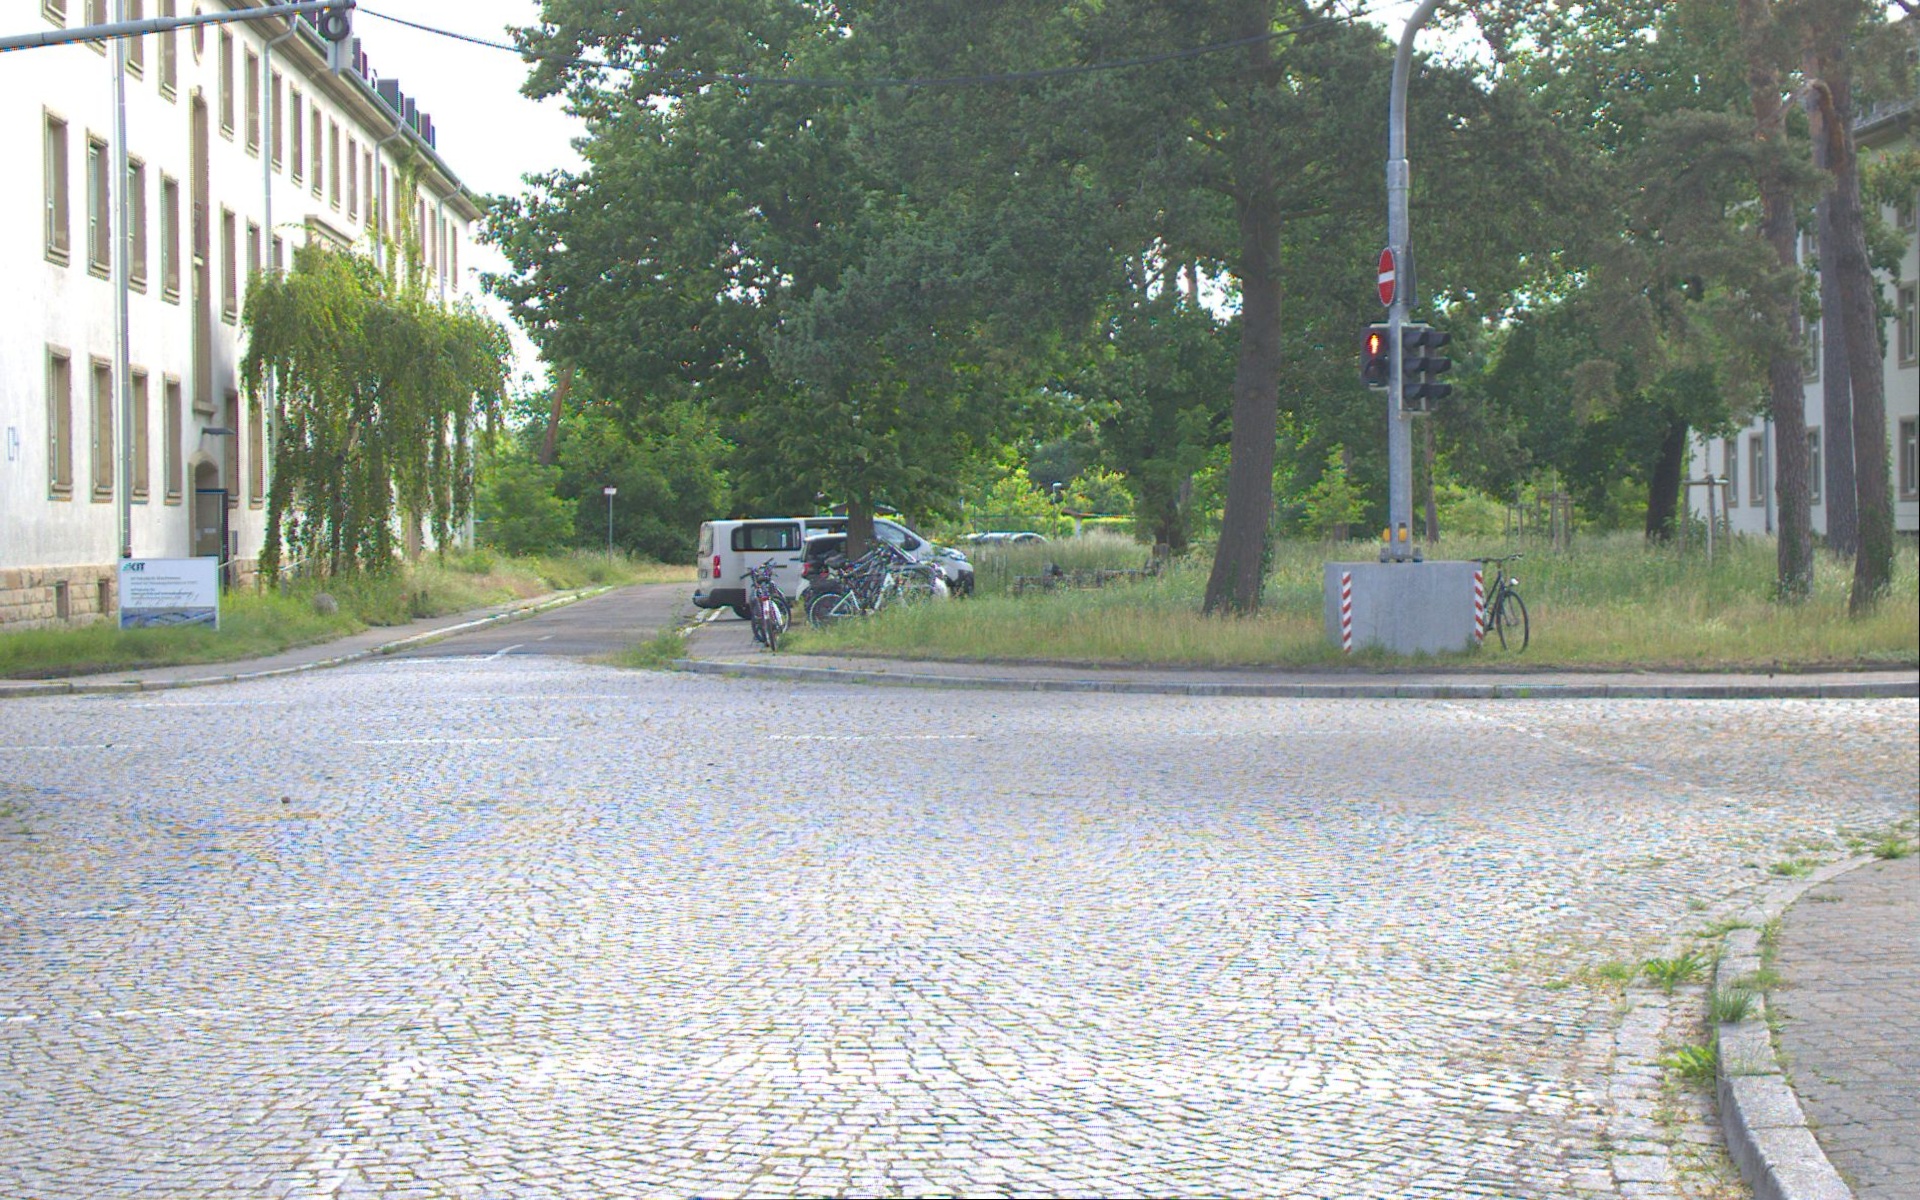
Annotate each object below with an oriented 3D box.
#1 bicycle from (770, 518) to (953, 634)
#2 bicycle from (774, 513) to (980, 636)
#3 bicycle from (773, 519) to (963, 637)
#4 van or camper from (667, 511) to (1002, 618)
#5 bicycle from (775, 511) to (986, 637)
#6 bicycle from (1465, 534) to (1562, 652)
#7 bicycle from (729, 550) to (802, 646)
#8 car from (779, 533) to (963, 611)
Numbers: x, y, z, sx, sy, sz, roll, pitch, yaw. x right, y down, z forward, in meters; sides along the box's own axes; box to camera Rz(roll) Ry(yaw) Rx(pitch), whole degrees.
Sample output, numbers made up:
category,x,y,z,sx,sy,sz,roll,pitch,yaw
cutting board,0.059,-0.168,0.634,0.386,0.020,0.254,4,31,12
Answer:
category,x,y,z,sx,sy,sz,roll,pitch,yaw
bicycle,-1.524,-0.377,53.420,2.775,1.688,1.120,2,1,-1
bicycle,-1.180,-0.367,48.524,2.775,1.688,1.120,-1,1,-9
bicycle,-1.384,-0.338,52.086,2.776,1.688,1.120,2,1,2
van or camper,-2.394,-0.693,65.268,6.030,1.942,2.001,-1,1,-16
bicycle,-1.104,-0.371,47.331,2.775,1.688,1.120,-1,1,-8
bicycle,5.737,-0.087,35.755,0.724,1.165,2.736,1,1,4
bicycle,-2.423,-0.044,43.009,0.725,1.104,2.462,-5,1,-1
car,-1.615,-0.511,61.717,3.137,1.349,1.620,-1,1,-8
